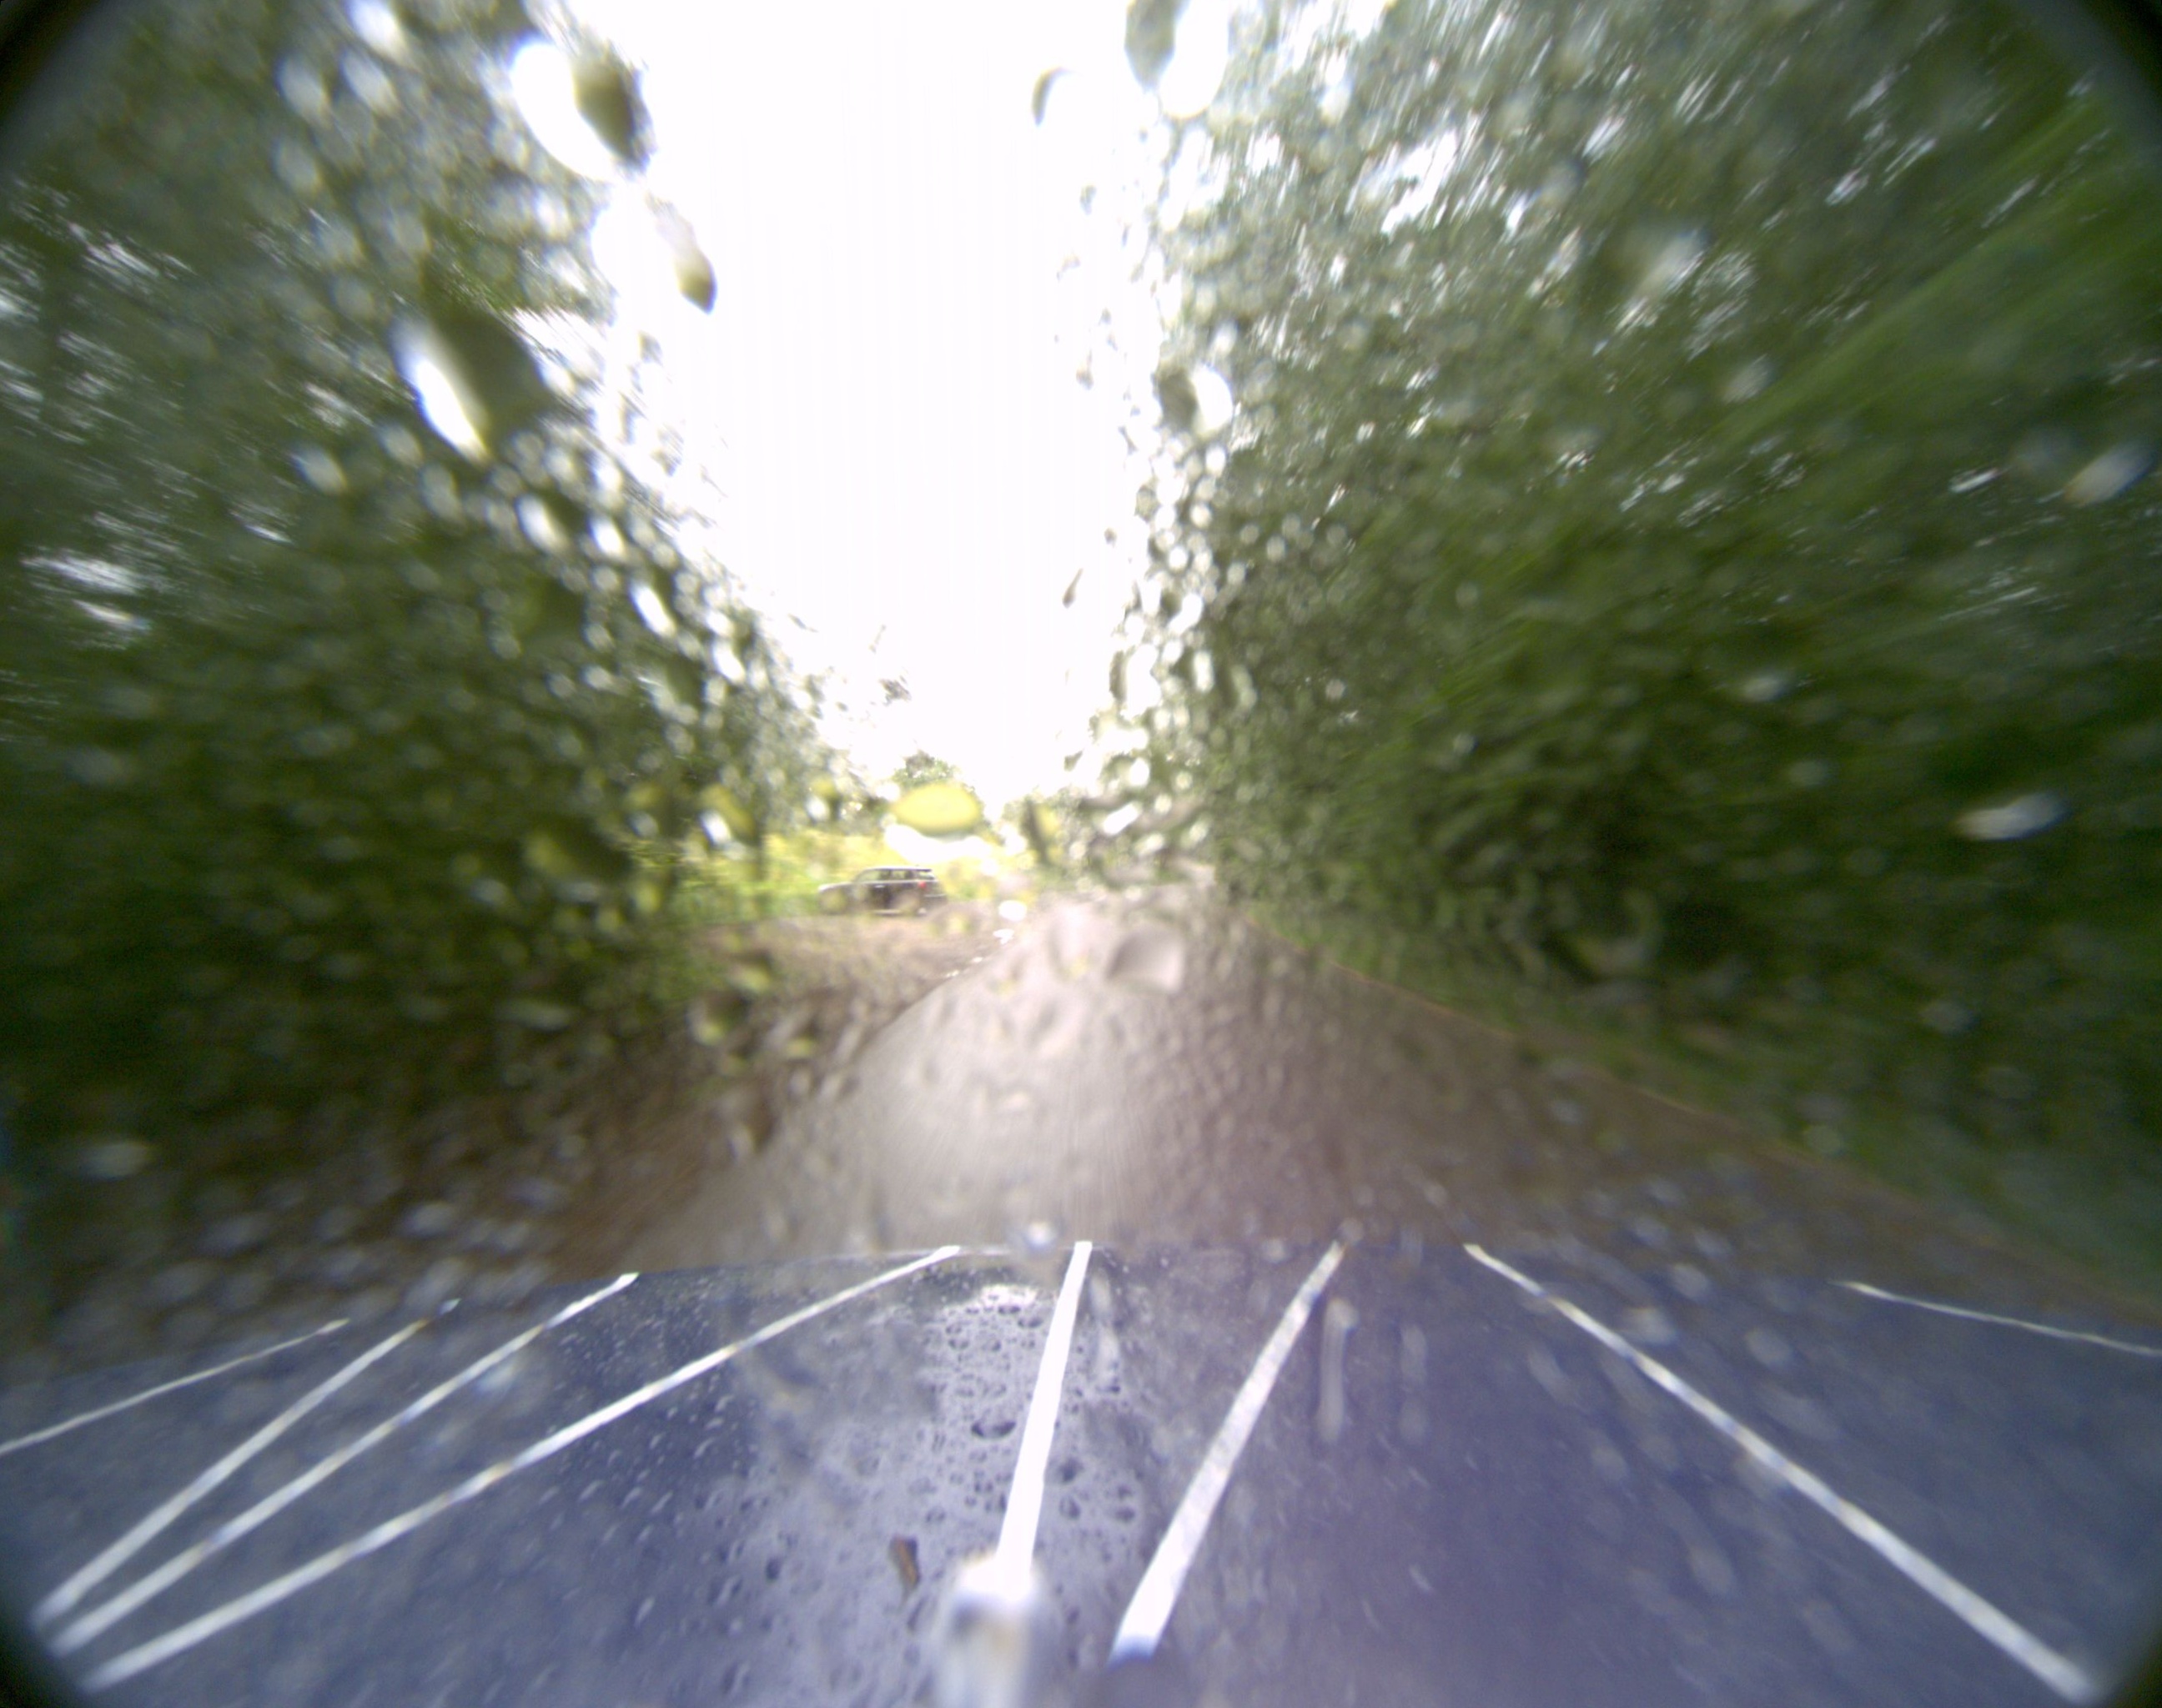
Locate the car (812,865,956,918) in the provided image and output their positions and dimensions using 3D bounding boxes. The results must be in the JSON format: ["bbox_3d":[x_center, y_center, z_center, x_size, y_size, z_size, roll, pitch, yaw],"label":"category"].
[{"bbox_3d":[-5.780,1.092,22.432,3.713,1.427,1.708,-2,0,14],"label":"car"}]
